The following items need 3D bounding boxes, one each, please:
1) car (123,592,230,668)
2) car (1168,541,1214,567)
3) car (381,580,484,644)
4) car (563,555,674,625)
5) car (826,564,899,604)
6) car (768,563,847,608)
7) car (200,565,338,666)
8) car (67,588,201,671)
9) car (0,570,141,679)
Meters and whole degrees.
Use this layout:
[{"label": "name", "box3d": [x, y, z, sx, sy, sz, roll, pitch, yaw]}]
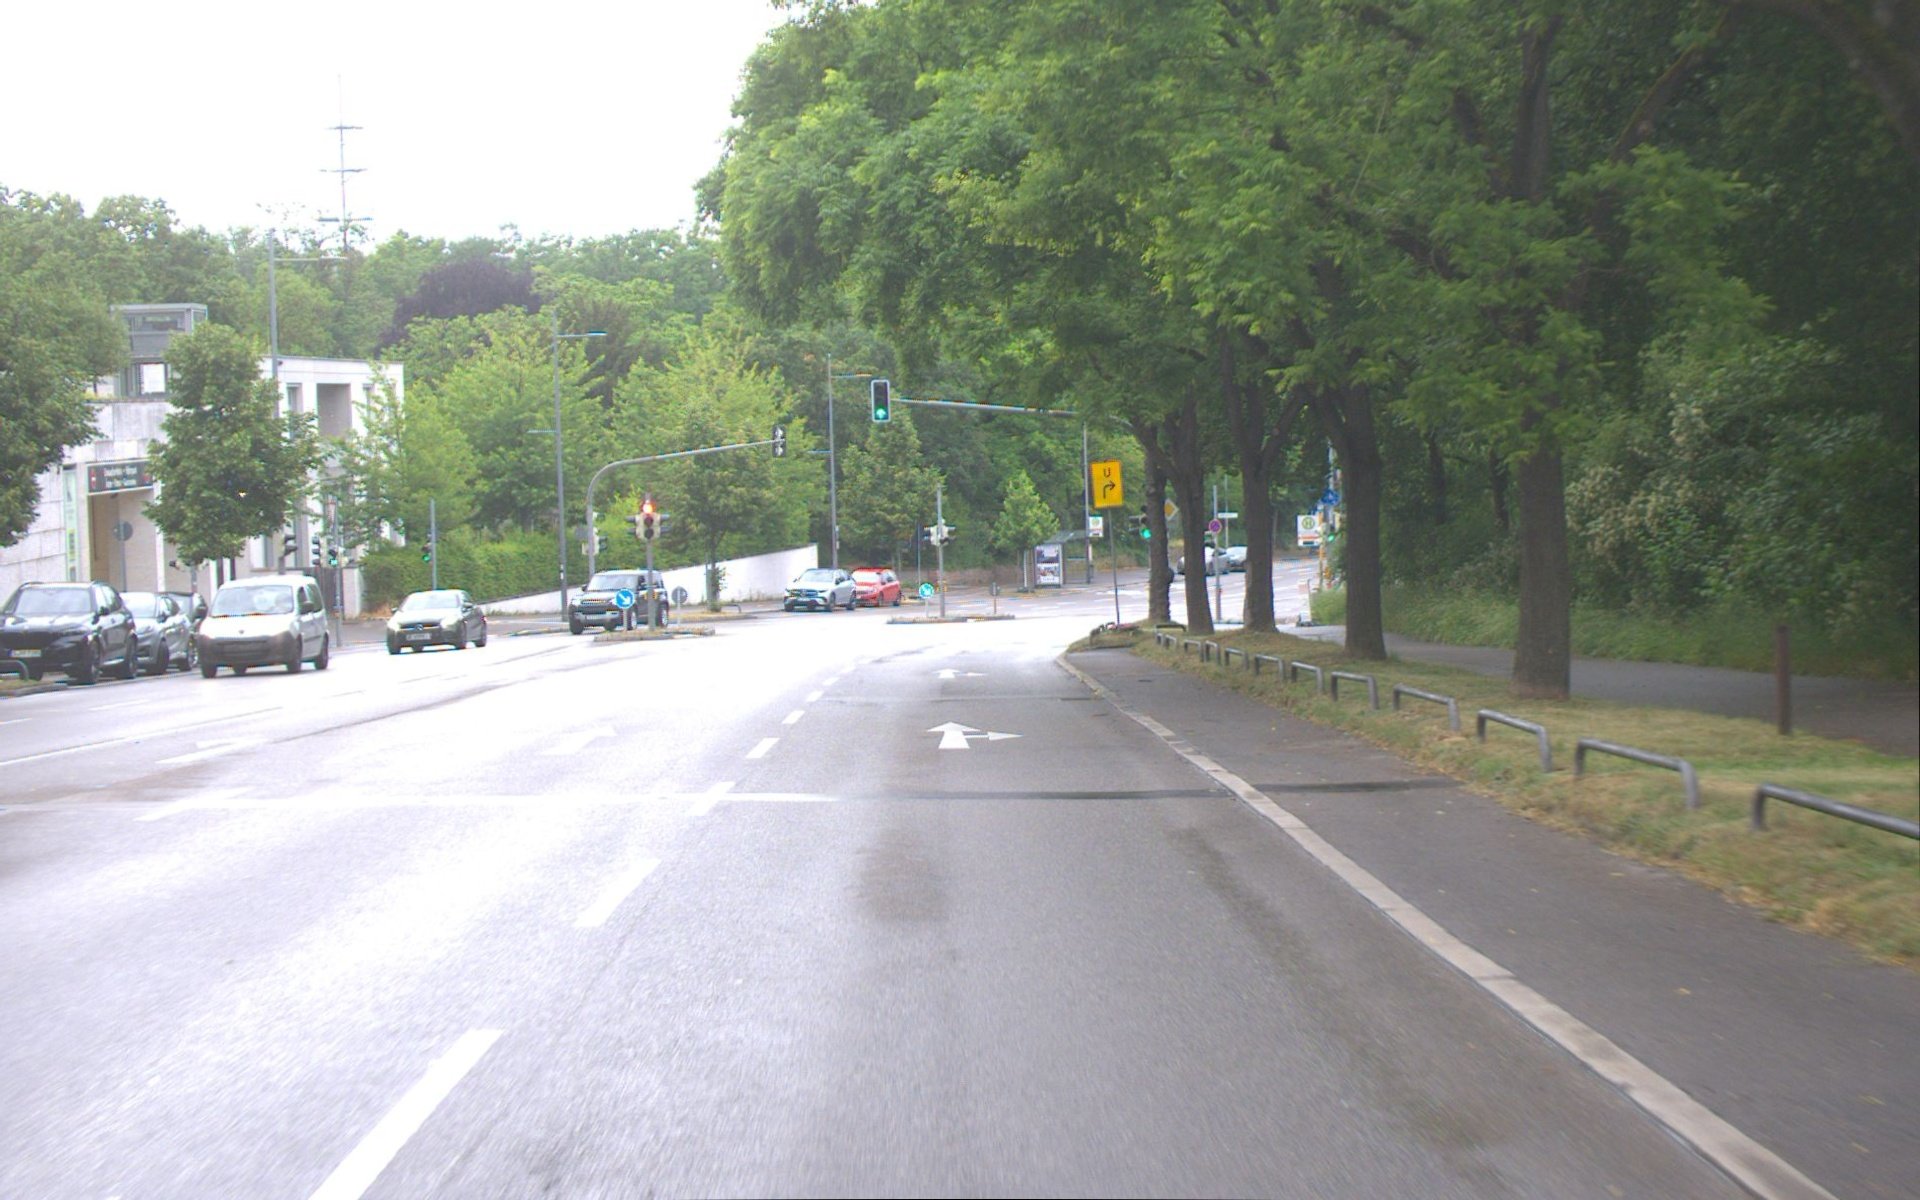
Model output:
[{"label": "car", "box3d": [-16.212, 0.605, 71.259, 1.508, 1.510, 2.980, 0, 0, 0]}, {"label": "car", "box3d": [13.052, -2.608, 193.962, 1.714, 1.455, 3.747, 0, 1, 18]}, {"label": "car", "box3d": [-12.548, 0.270, 81.981, 1.770, 1.376, 4.190, -3, 0, 0]}, {"label": "car", "box3d": [-10.454, -0.327, 105.560, 1.921, 1.851, 4.504, -5, 0, 13]}, {"label": "car", "box3d": [-4.011, -0.687, 142.178, 1.876, 1.569, 4.220, 1, 1, 15]}, {"label": "car", "box3d": [-5.974, -0.594, 135.095, 1.854, 1.634, 4.090, 2, 2, 17]}, {"label": "car", "box3d": [-12.646, 0.251, 63.169, 1.710, 1.740, 4.338, -2, 1, -1]}, {"label": "car", "box3d": [-15.643, 0.531, 65.265, 1.679, 1.510, 3.710, 0, 0, 0]}, {"label": "car", "box3d": [-15.636, 0.394, 59.613, 1.856, 1.775, 4.597, -2, 0, -2]}]
